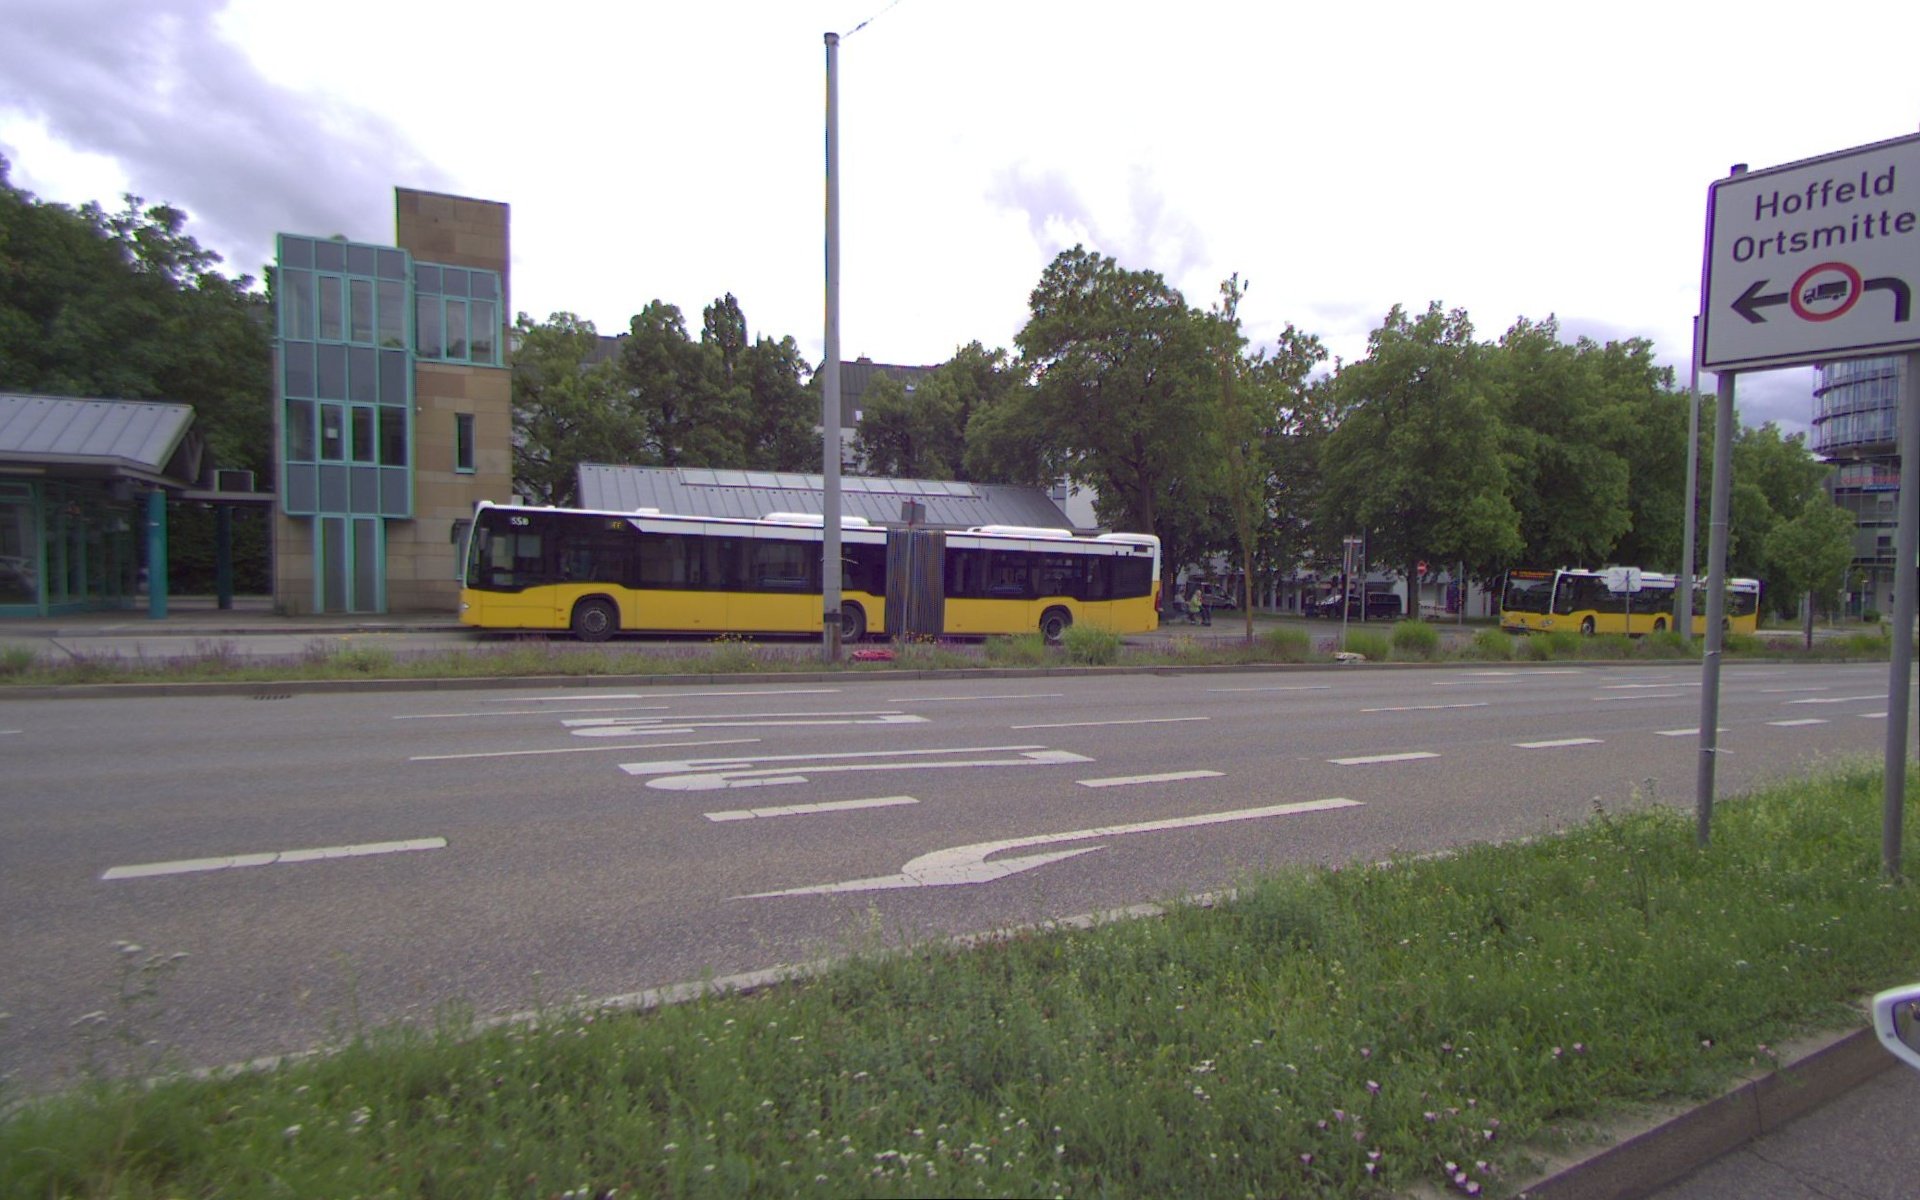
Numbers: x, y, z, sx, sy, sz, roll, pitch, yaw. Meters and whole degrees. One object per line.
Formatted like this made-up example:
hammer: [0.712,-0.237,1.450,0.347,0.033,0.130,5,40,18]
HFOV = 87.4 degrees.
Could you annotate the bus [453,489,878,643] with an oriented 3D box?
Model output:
bus: [-6.857,-0.681,24.117,9.309,3.174,2.767,1,3,-25]

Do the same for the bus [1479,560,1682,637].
bus: [28.803,-0.020,46.461,10.606,3.205,3.070,1,2,-29]

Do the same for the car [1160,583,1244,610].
car: [16.790,-0.251,69.713,5.308,1.670,1.995,1,1,-12]

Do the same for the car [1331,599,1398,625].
car: [27.337,0.801,67.900,4.194,1.602,1.985,1,1,-28]

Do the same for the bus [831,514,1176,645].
bus: [1.283,-0.486,27.846,9.168,3.174,2.802,1,3,-24]

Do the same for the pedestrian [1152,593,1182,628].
pedestrian: [7.681,0.377,37.245,0.843,1.271,0.894,2,1,30]

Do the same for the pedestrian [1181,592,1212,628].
pedestrian: [8.961,0.366,38.065,0.844,1.307,0.893,2,1,35]

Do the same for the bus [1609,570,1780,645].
bus: [37.667,0.441,51.392,9.787,3.502,3.018,1,2,-28]

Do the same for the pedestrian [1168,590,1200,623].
pedestrian: [8.907,0.266,40.024,0.848,1.271,0.888,1,1,-31]
